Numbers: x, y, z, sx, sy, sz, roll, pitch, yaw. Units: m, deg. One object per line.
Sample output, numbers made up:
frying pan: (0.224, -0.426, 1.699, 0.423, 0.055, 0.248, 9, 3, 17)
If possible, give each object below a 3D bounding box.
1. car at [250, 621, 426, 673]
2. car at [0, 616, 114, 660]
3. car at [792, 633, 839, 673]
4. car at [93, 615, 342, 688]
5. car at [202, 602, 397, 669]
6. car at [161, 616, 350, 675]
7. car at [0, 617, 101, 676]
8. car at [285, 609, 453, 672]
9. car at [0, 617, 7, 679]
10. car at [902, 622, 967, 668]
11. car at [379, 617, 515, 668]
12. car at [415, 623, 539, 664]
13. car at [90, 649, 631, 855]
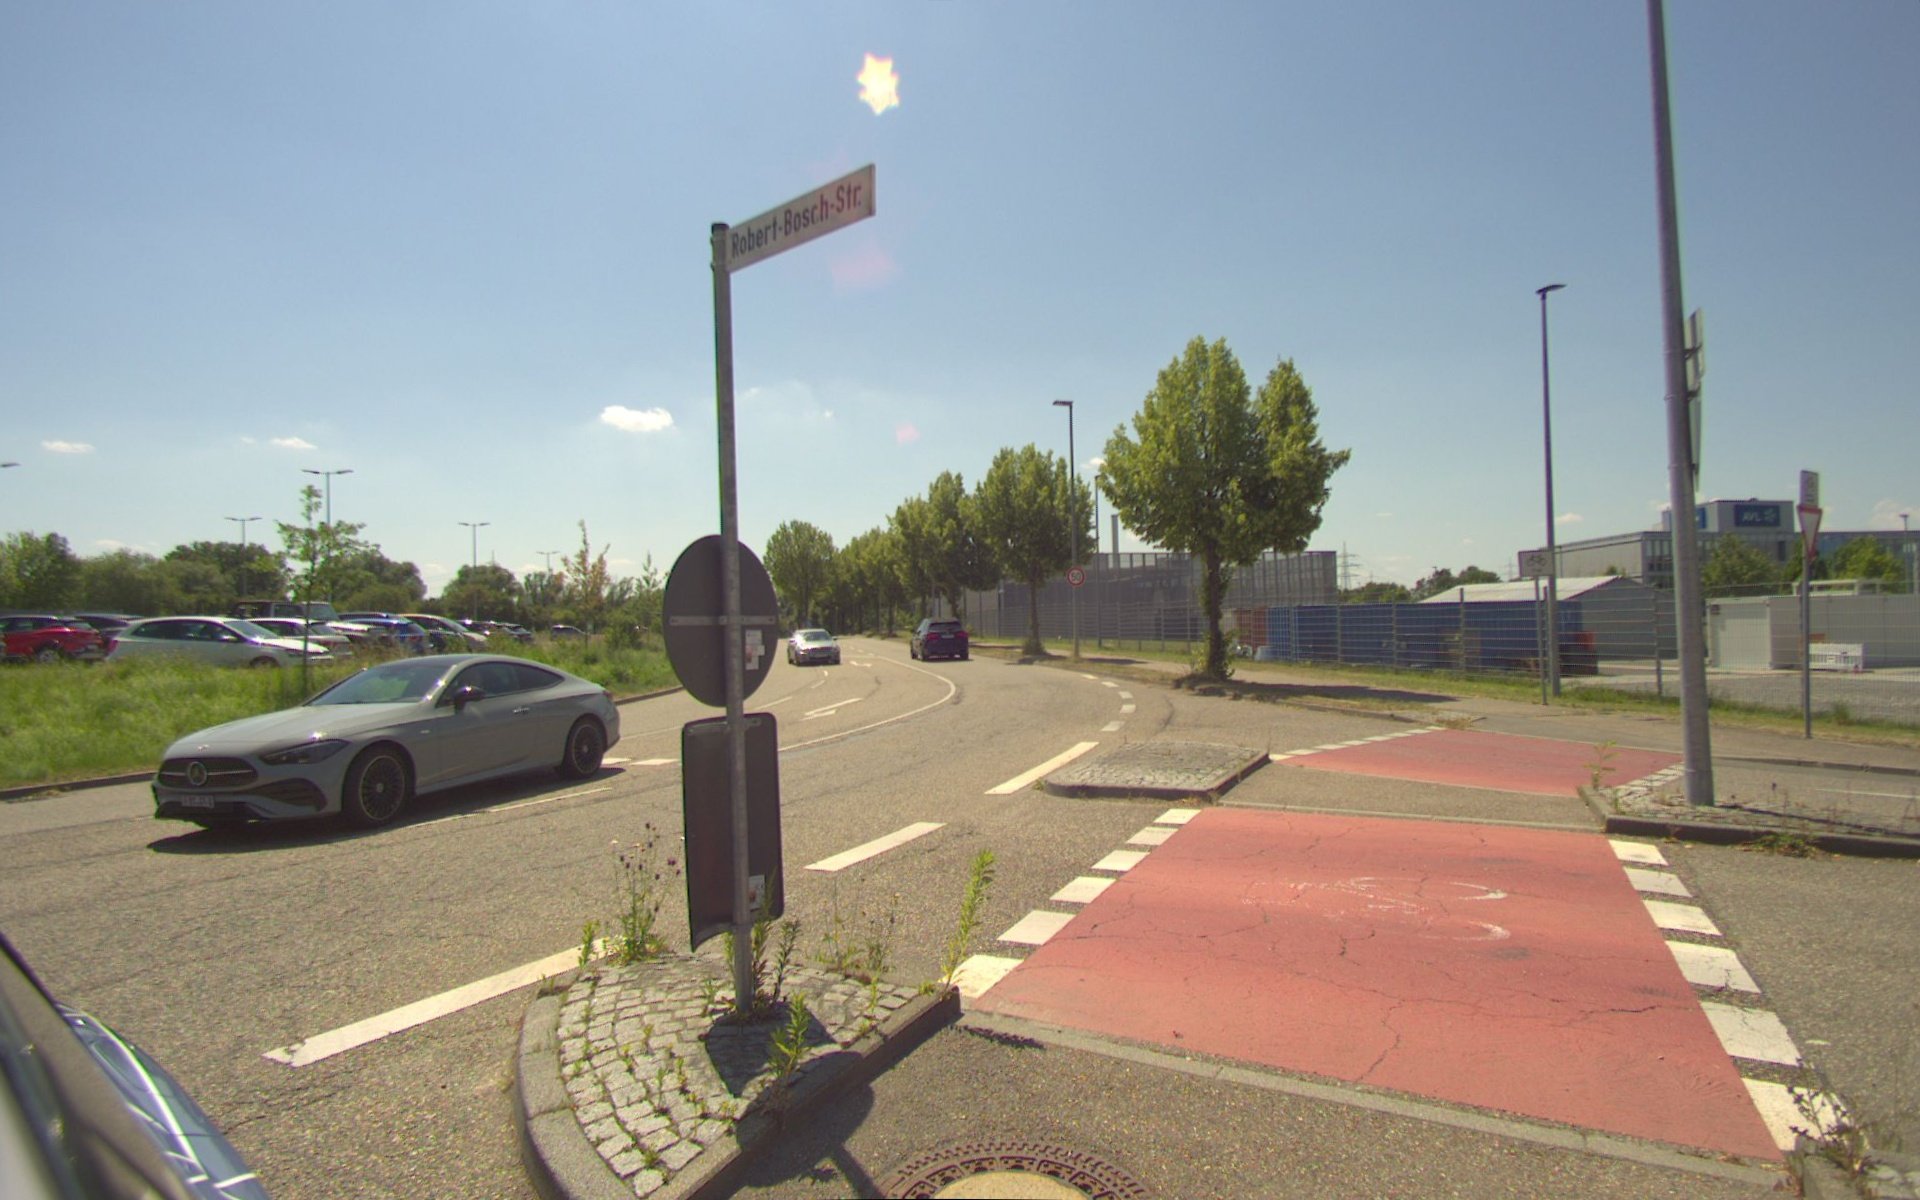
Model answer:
car: (-17.302, 1.290, 28.321, 3.881, 1.267, 1.590, -1, 0, -14)
car: (-32.544, 1.322, 35.793, 3.579, 1.511, 1.774, 0, -2, -12)
car: (-6.010, 2.129, 41.793, 1.647, 1.385, 4.506, -4, -1, -10)
car: (-15.136, 1.020, 20.818, 3.815, 1.307, 1.578, -1, 0, -10)
car: (-16.722, 0.861, 25.786, 3.690, 1.539, 1.879, -1, 0, -6)
car: (-16.038, 1.010, 23.188, 3.217, 1.191, 1.505, -1, 0, -11)
car: (-27.475, 1.390, 29.482, 3.363, 1.586, 1.526, -3, 0, -14)
car: (-17.835, 1.205, 30.724, 3.974, 1.440, 1.692, -6, 0, -13)
car: (-26.397, 1.213, 25.112, 3.579, 1.609, 1.774, 0, -2, -12)
car: (-1.084, 1.752, 40.474, 1.840, 1.647, 4.609, -2, -1, -10)
car: (-17.139, 1.406, 33.991, 3.785, 1.636, 1.621, 0, -2, -13)
car: (-18.704, 1.657, 39.328, 3.935, 1.301, 1.913, -3, 0, -10)
car: (-5.387, 1.280, 9.975, 1.881, 1.394, 4.611, -3, -2, 14)
